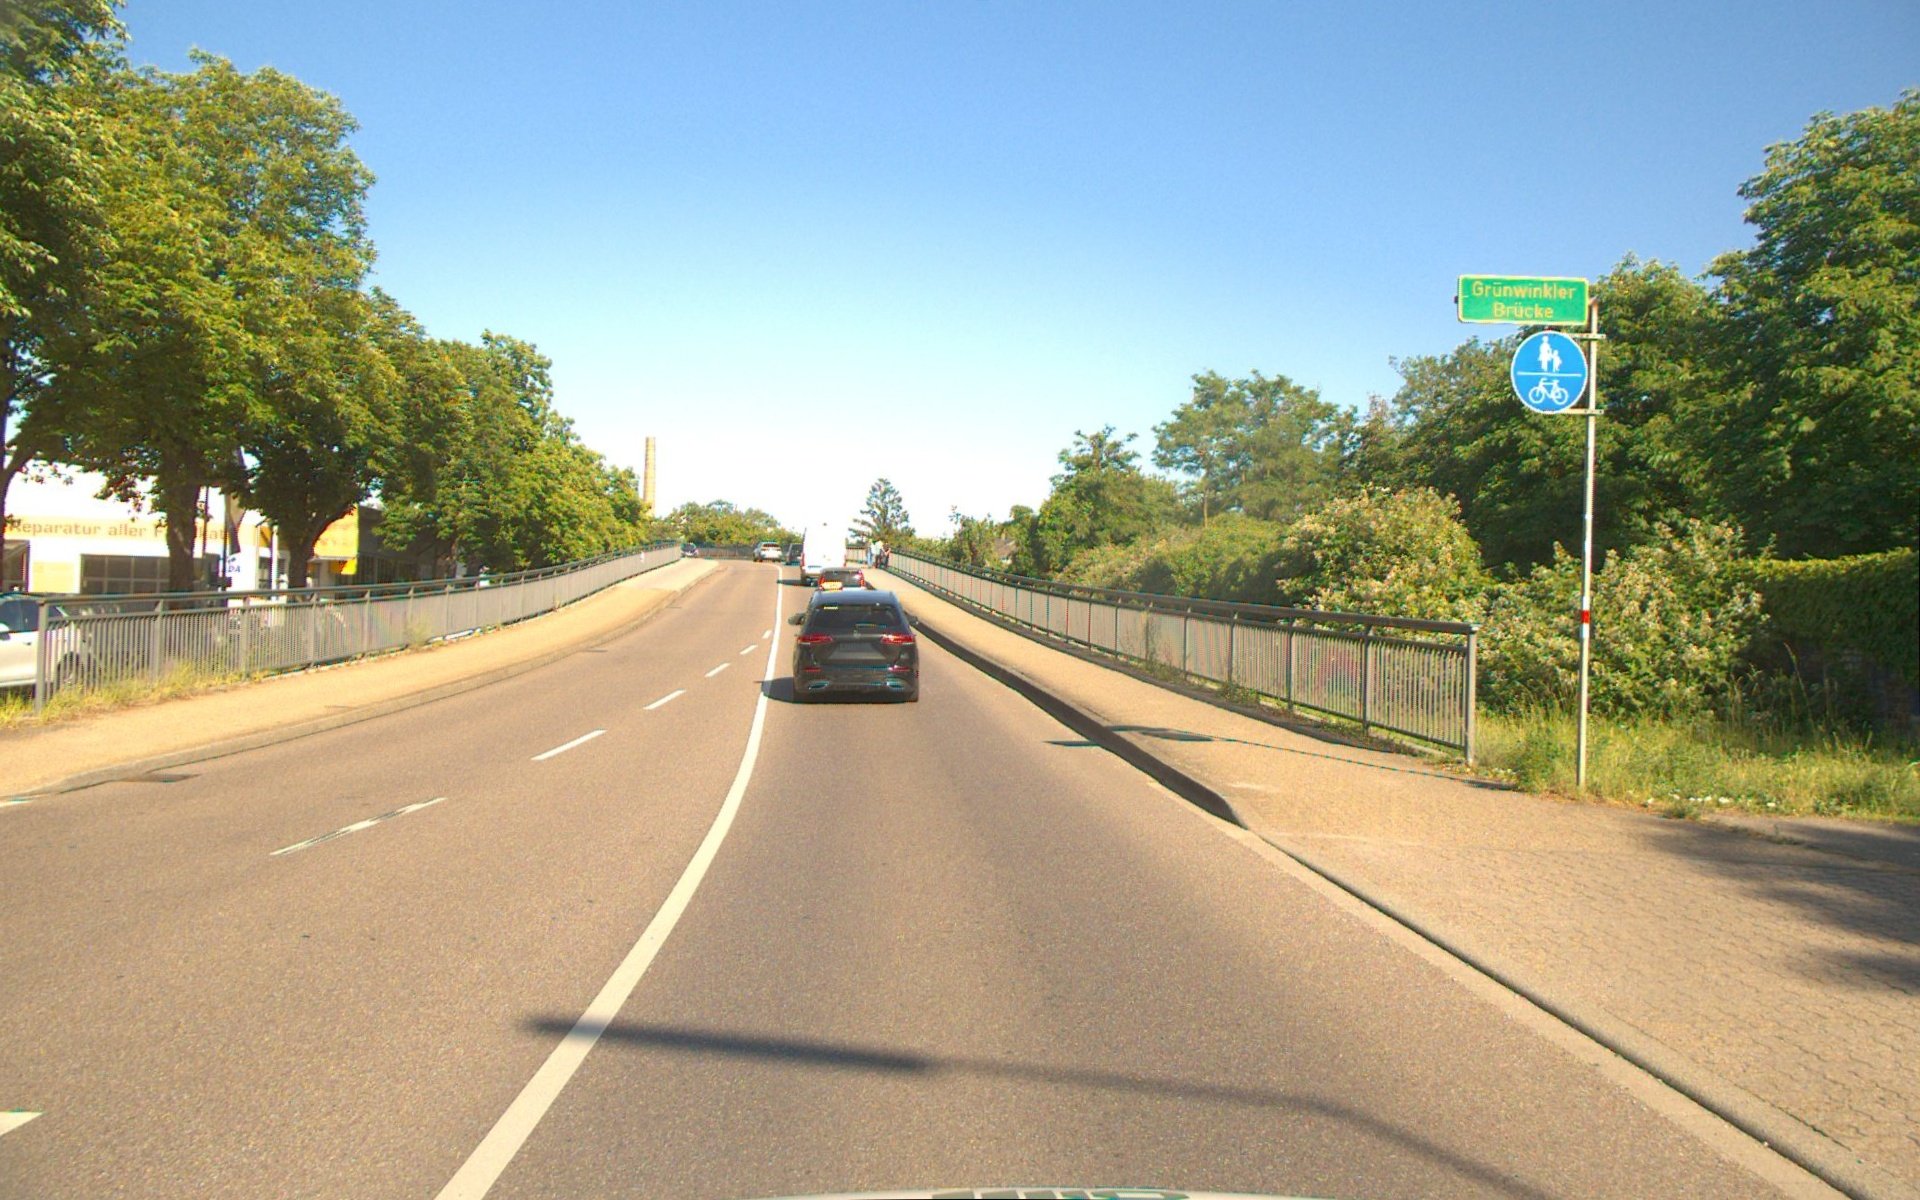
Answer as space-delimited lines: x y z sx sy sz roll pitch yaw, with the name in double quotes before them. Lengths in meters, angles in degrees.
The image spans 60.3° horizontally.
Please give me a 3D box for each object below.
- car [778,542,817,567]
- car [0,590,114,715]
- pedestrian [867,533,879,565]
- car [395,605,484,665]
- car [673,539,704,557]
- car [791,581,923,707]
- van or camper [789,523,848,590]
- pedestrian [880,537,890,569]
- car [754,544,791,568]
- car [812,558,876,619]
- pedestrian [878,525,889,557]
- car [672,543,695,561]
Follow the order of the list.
"car" -10.979 -3.093 112.235 1.878 1.515 4.272 0 -1 5
"car" -14.750 0.727 24.487 1.997 1.759 5.232 2 -1 -4
"pedestrian" -4.906 -2.874 93.481 0.590 1.781 0.716 2 0 -6
"car" -18.700 1.230 59.568 1.884 2.026 4.256 2 0 -1
"car" -25.857 -4.977 157.611 1.854 1.570 3.966 2 0 -26
"car" -1.451 0.571 24.206 1.734 1.620 3.988 2 1 -2
"van or camper" -6.386 -1.856 74.146 2.184 2.787 7.067 2 0 -8
"pedestrian" -4.219 -2.618 92.970 0.462 1.781 0.653 2 0 -6
"car" -14.723 -3.465 130.119 1.951 1.709 4.003 0 -1 7
"car" -3.398 -0.305 49.097 1.769 1.669 3.997 2 -1 -3
"pedestrian" -4.364 -3.376 94.199 0.539 1.781 0.737 2 0 -6
"car" -24.059 -4.182 144.096 1.736 1.500 3.984 -1 2 -7
